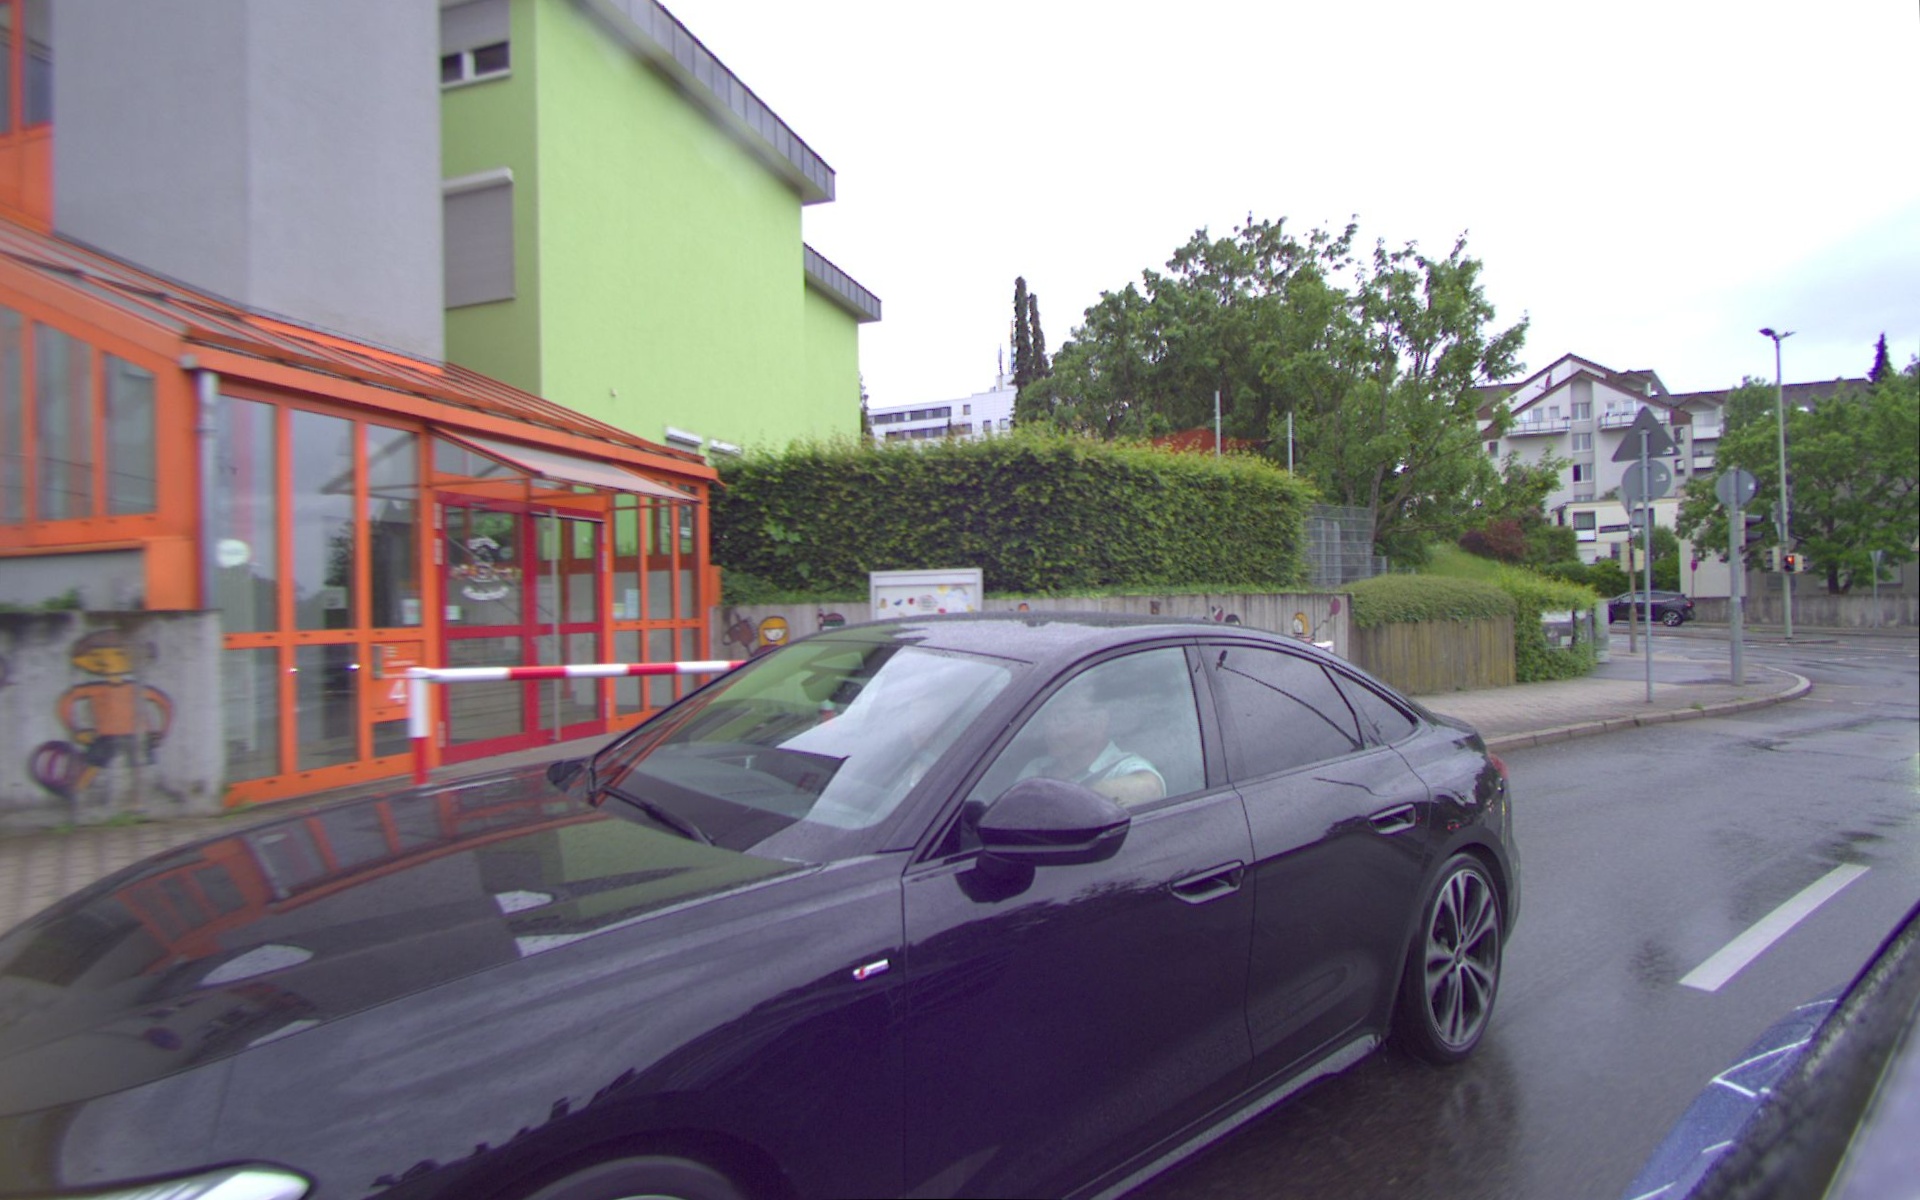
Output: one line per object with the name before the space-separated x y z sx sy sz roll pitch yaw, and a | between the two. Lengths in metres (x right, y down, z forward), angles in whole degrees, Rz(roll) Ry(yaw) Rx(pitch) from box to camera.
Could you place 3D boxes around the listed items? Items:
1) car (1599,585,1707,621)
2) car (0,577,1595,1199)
car | 31.776 0.123 46.439 3.978 1.571 1.671 -1 1 38
car | 0.009 0.690 2.987 4.657 1.442 1.869 -2 1 -41
